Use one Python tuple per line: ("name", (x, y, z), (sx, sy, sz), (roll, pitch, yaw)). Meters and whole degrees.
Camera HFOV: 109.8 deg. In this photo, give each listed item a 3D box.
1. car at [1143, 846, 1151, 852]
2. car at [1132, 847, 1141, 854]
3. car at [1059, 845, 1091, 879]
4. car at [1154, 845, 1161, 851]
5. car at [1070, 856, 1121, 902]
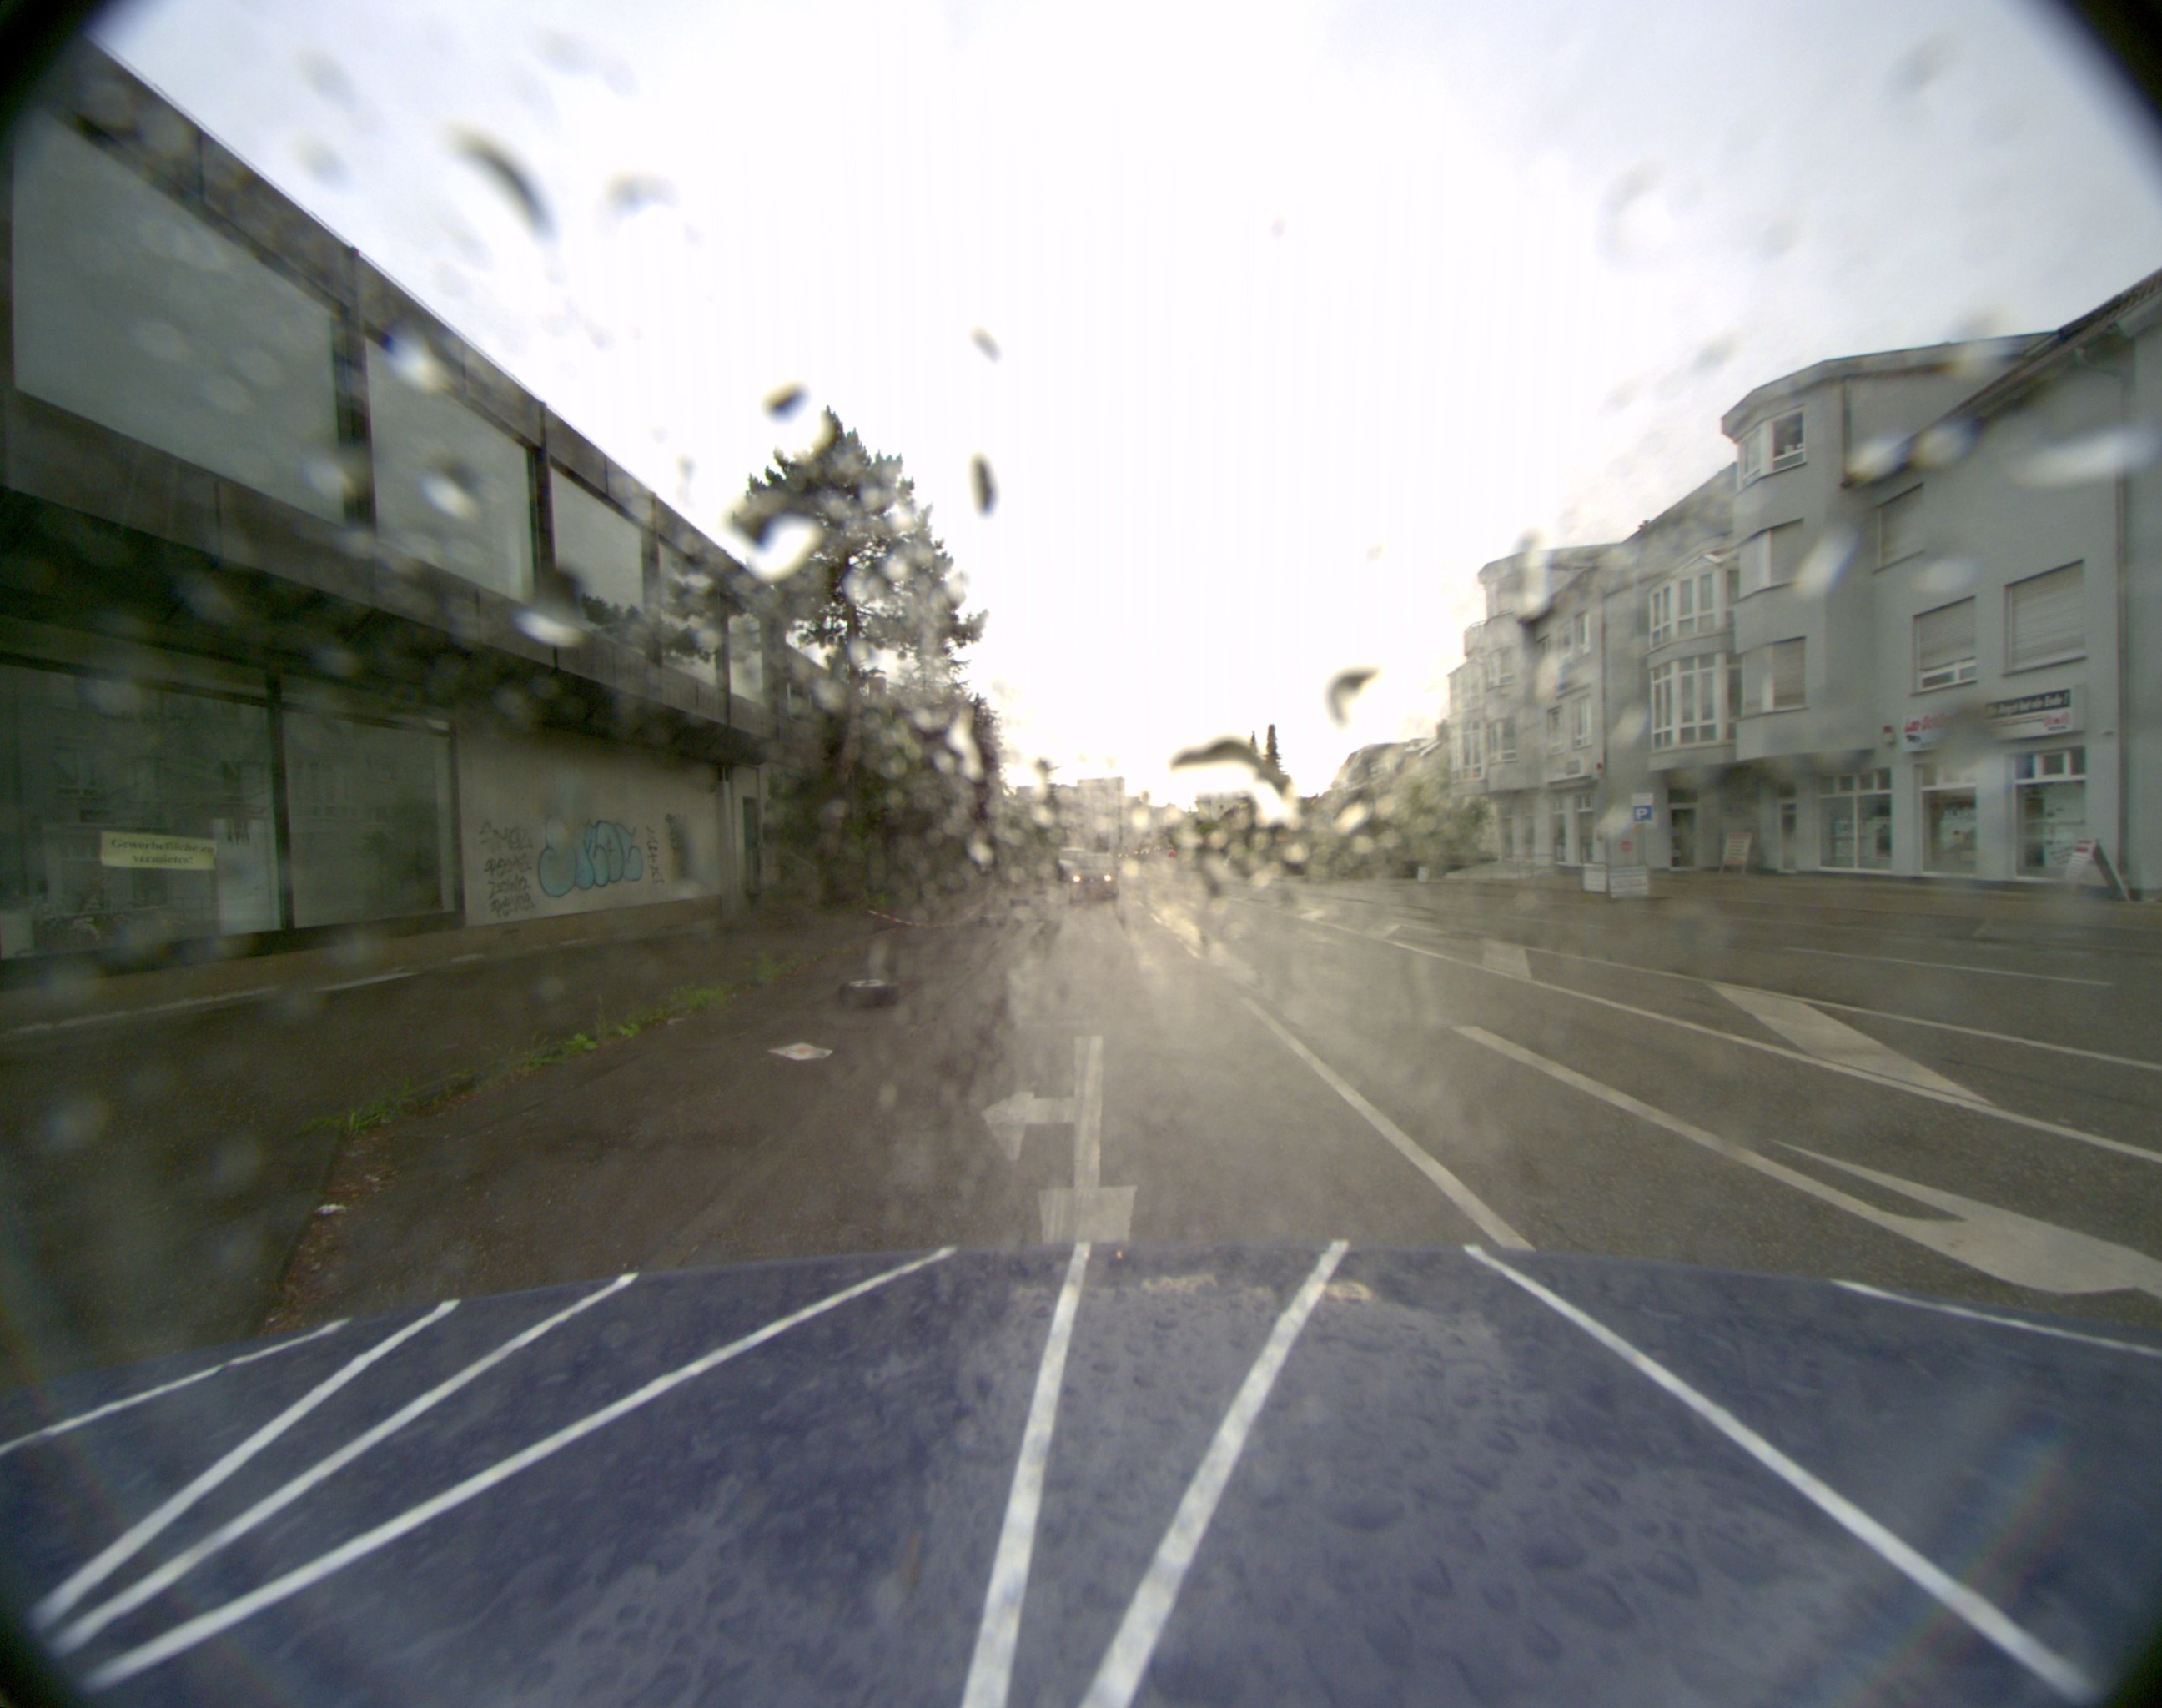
("car", (18.649, -1.390, 215.861), (1.997, 1.774, 4.002), (-2, 1, 8))
("car", (14.482, -0.994, 197.659), (1.998, 1.723, 3.999), (-2, 1, 1))
("car", (-0.350, 0.471, 50.407), (1.998, 2.072, 3.999), (-2, 1, 1))
("car", (23.672, -1.928, 233.895), (1.997, 1.808, 4.002), (-2, 1, 8))
("car", (0.538, 0.876, 29.183), (1.754, 1.534, 4.676), (-1, 1, 1))
